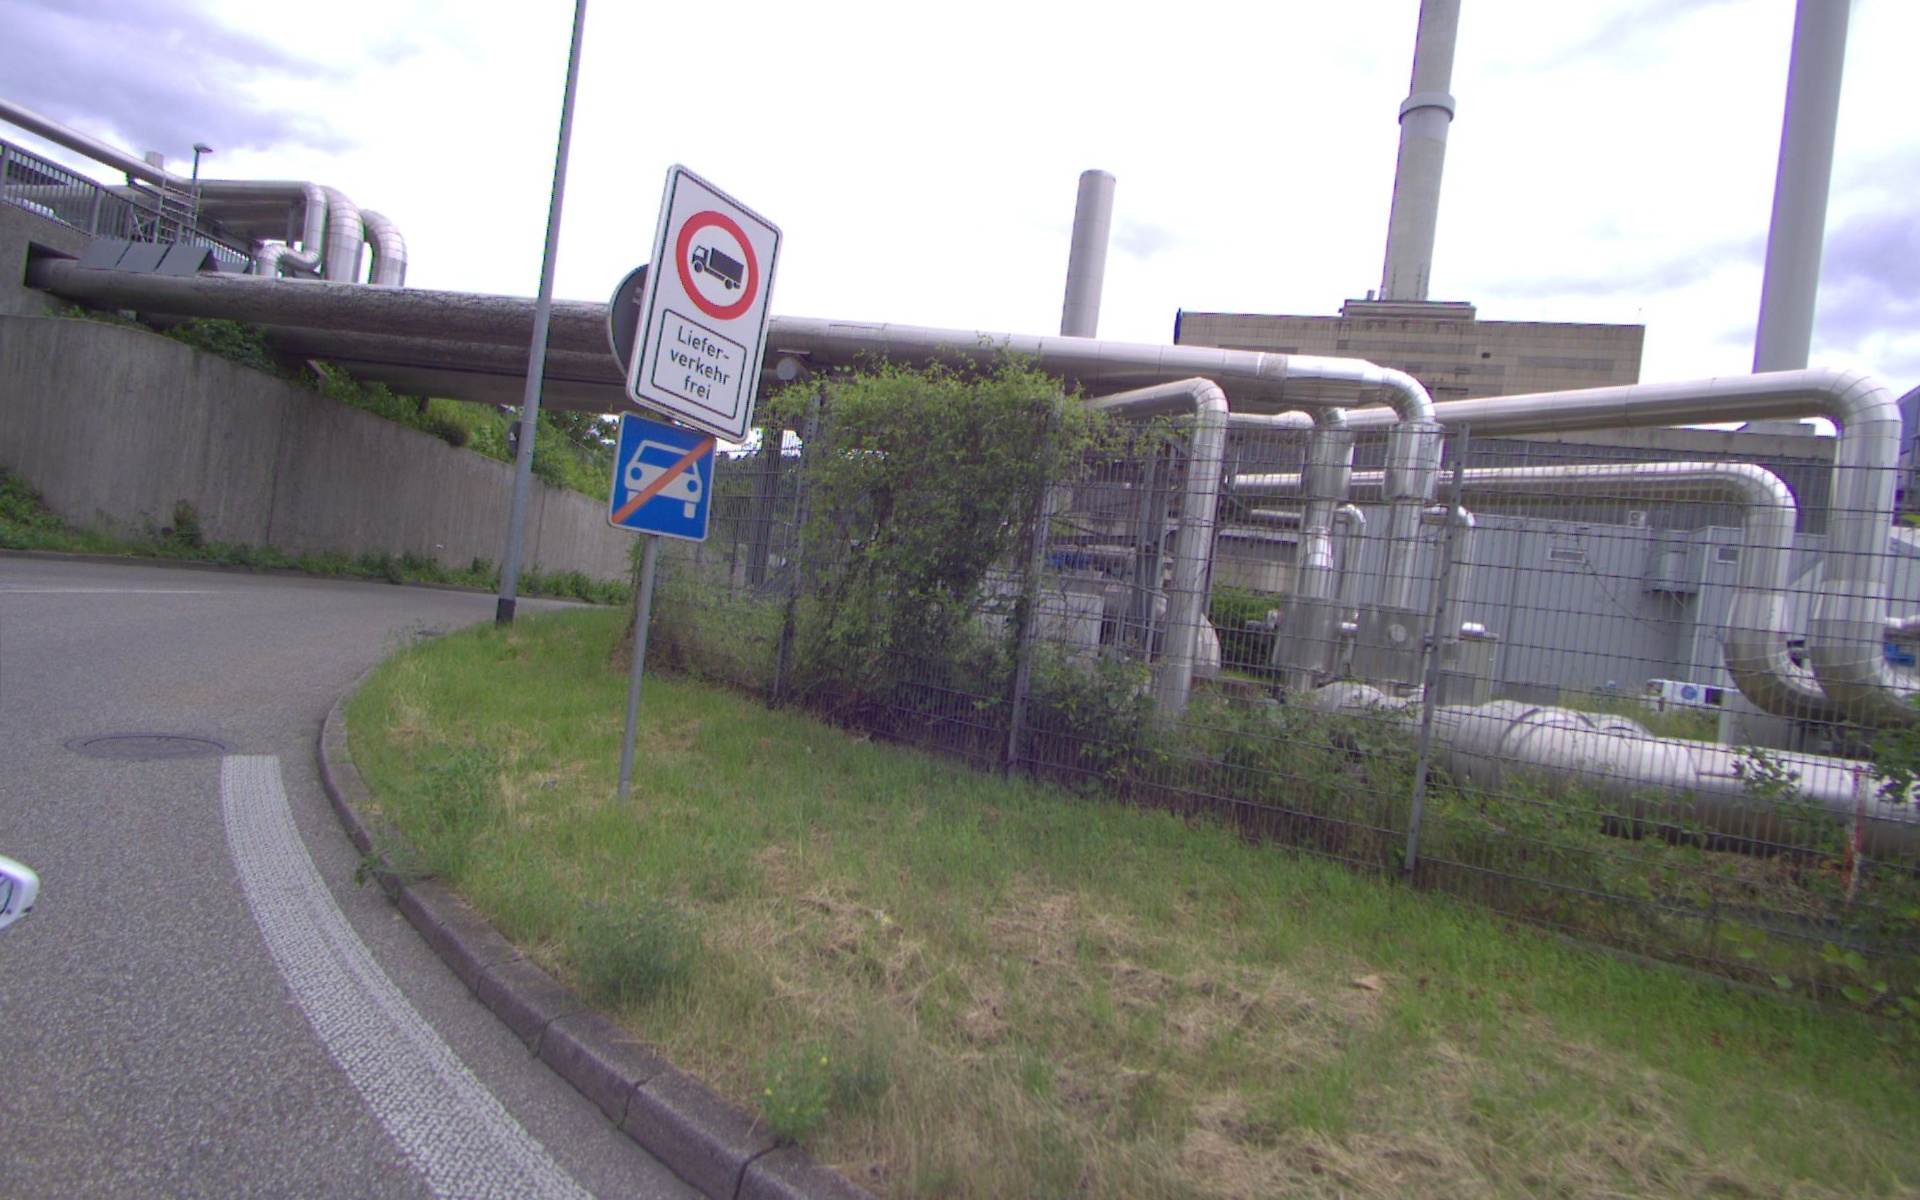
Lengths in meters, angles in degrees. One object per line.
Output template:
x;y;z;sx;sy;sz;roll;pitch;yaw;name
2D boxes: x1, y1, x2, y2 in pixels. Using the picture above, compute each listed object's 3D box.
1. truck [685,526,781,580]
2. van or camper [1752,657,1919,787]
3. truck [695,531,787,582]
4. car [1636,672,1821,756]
-20.640;-4.164;91.623;7.770;3.578;3.036;9;-2;-24;truck
21.306;2.781;23.286;2.528;2.579;6.128;8;-1;19;van or camper
-20.906;-4.071;96.120;7.778;3.578;3.033;9;-2;-27;truck
25.564;3.751;33.630;4.257;2.038;2.001;8;0;13;car
